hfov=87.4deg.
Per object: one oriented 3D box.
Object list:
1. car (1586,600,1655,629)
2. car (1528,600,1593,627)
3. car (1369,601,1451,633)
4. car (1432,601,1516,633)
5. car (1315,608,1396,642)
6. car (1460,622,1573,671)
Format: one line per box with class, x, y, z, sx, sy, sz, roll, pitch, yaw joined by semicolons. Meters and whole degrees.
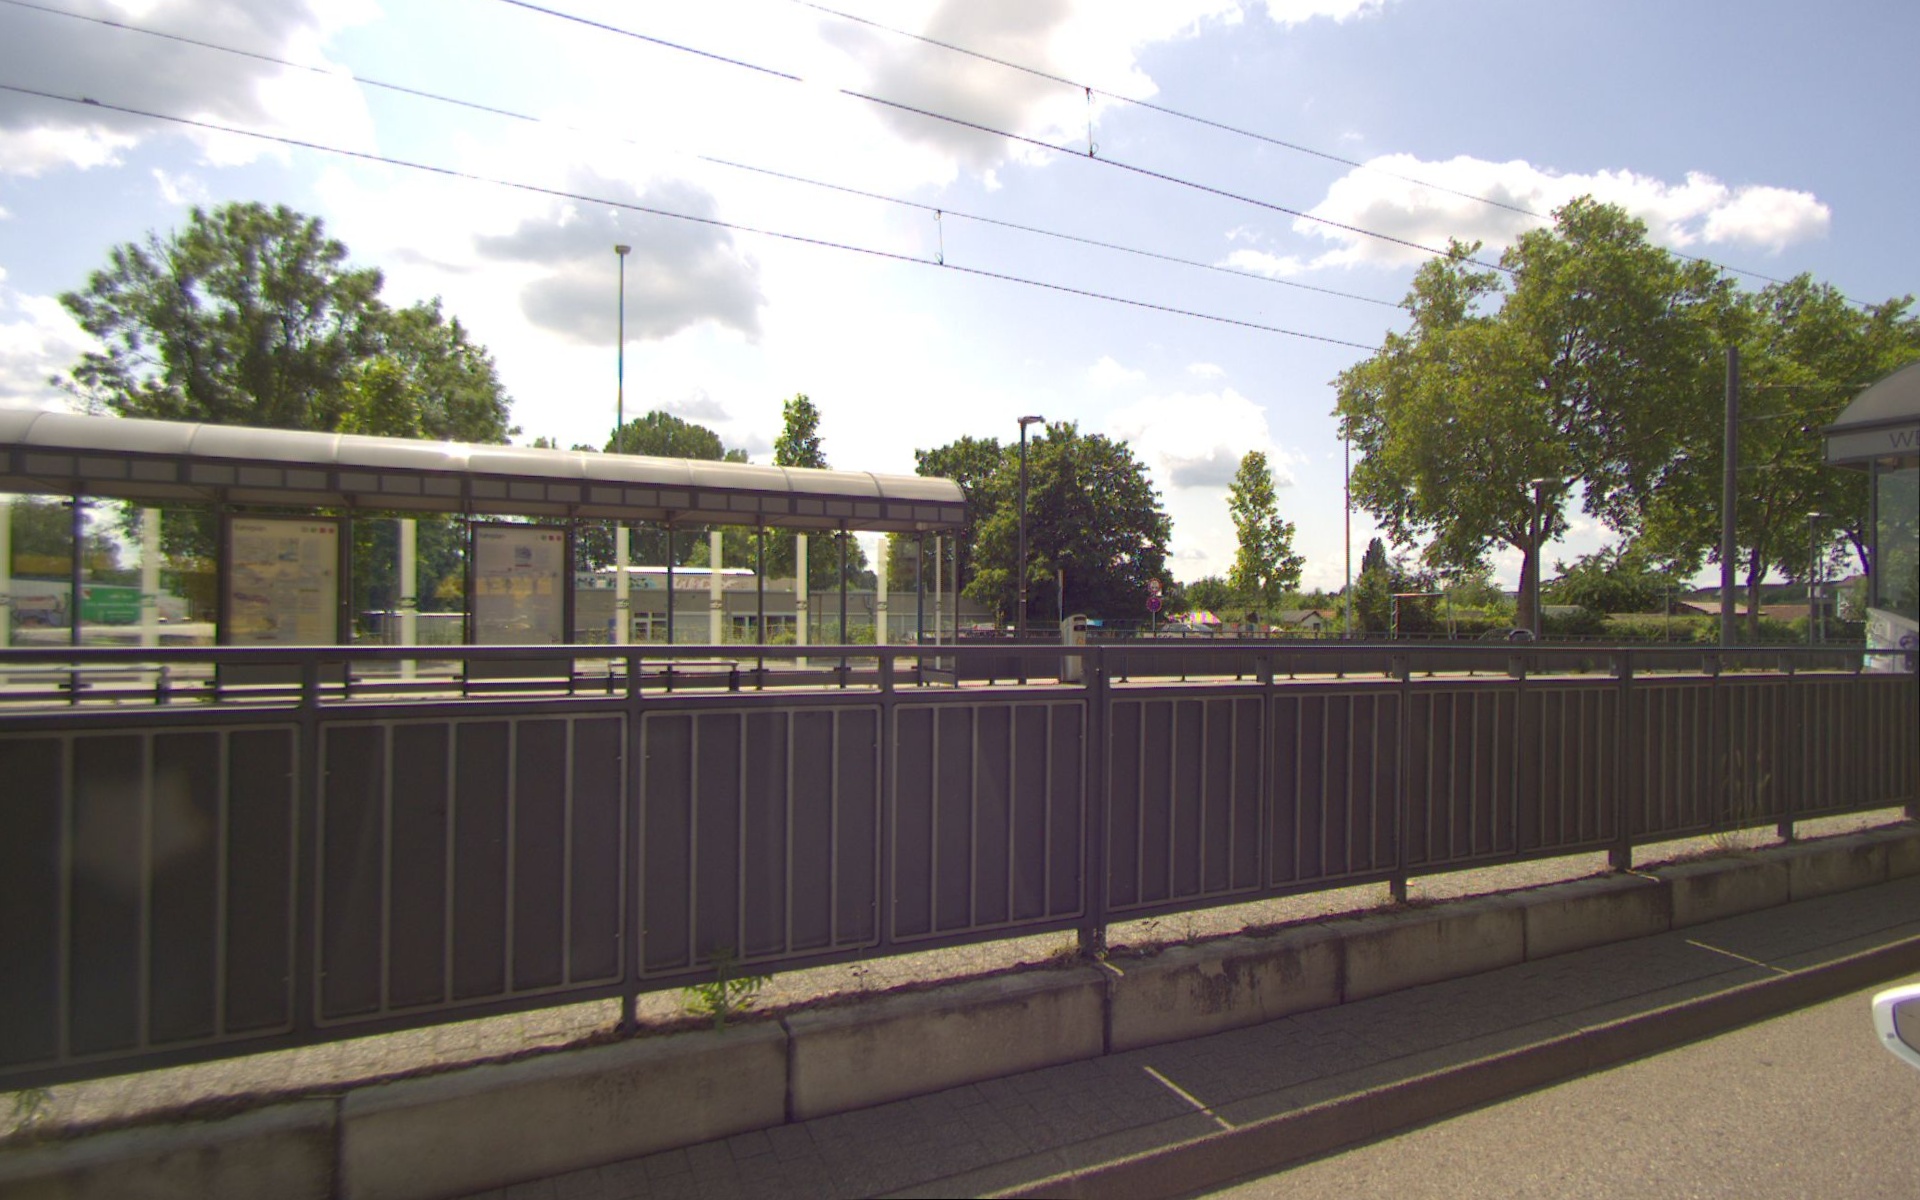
car;40.207;0.867;61.159;3.878;1.684;1.896;0;0;-28
car;38.977;0.858;65.171;3.878;1.684;1.896;0;0;-28
car;25.061;0.909;56.069;1.883;1.684;3.904;0;0;-24
car;28.637;0.903;56.085;1.883;1.684;3.904;0;0;-24
car;21.133;1.310;53.811;1.883;1.684;3.905;0;0;-24
car;20.188;1.631;36.412;3.948;1.606;1.702;0;0;-27
